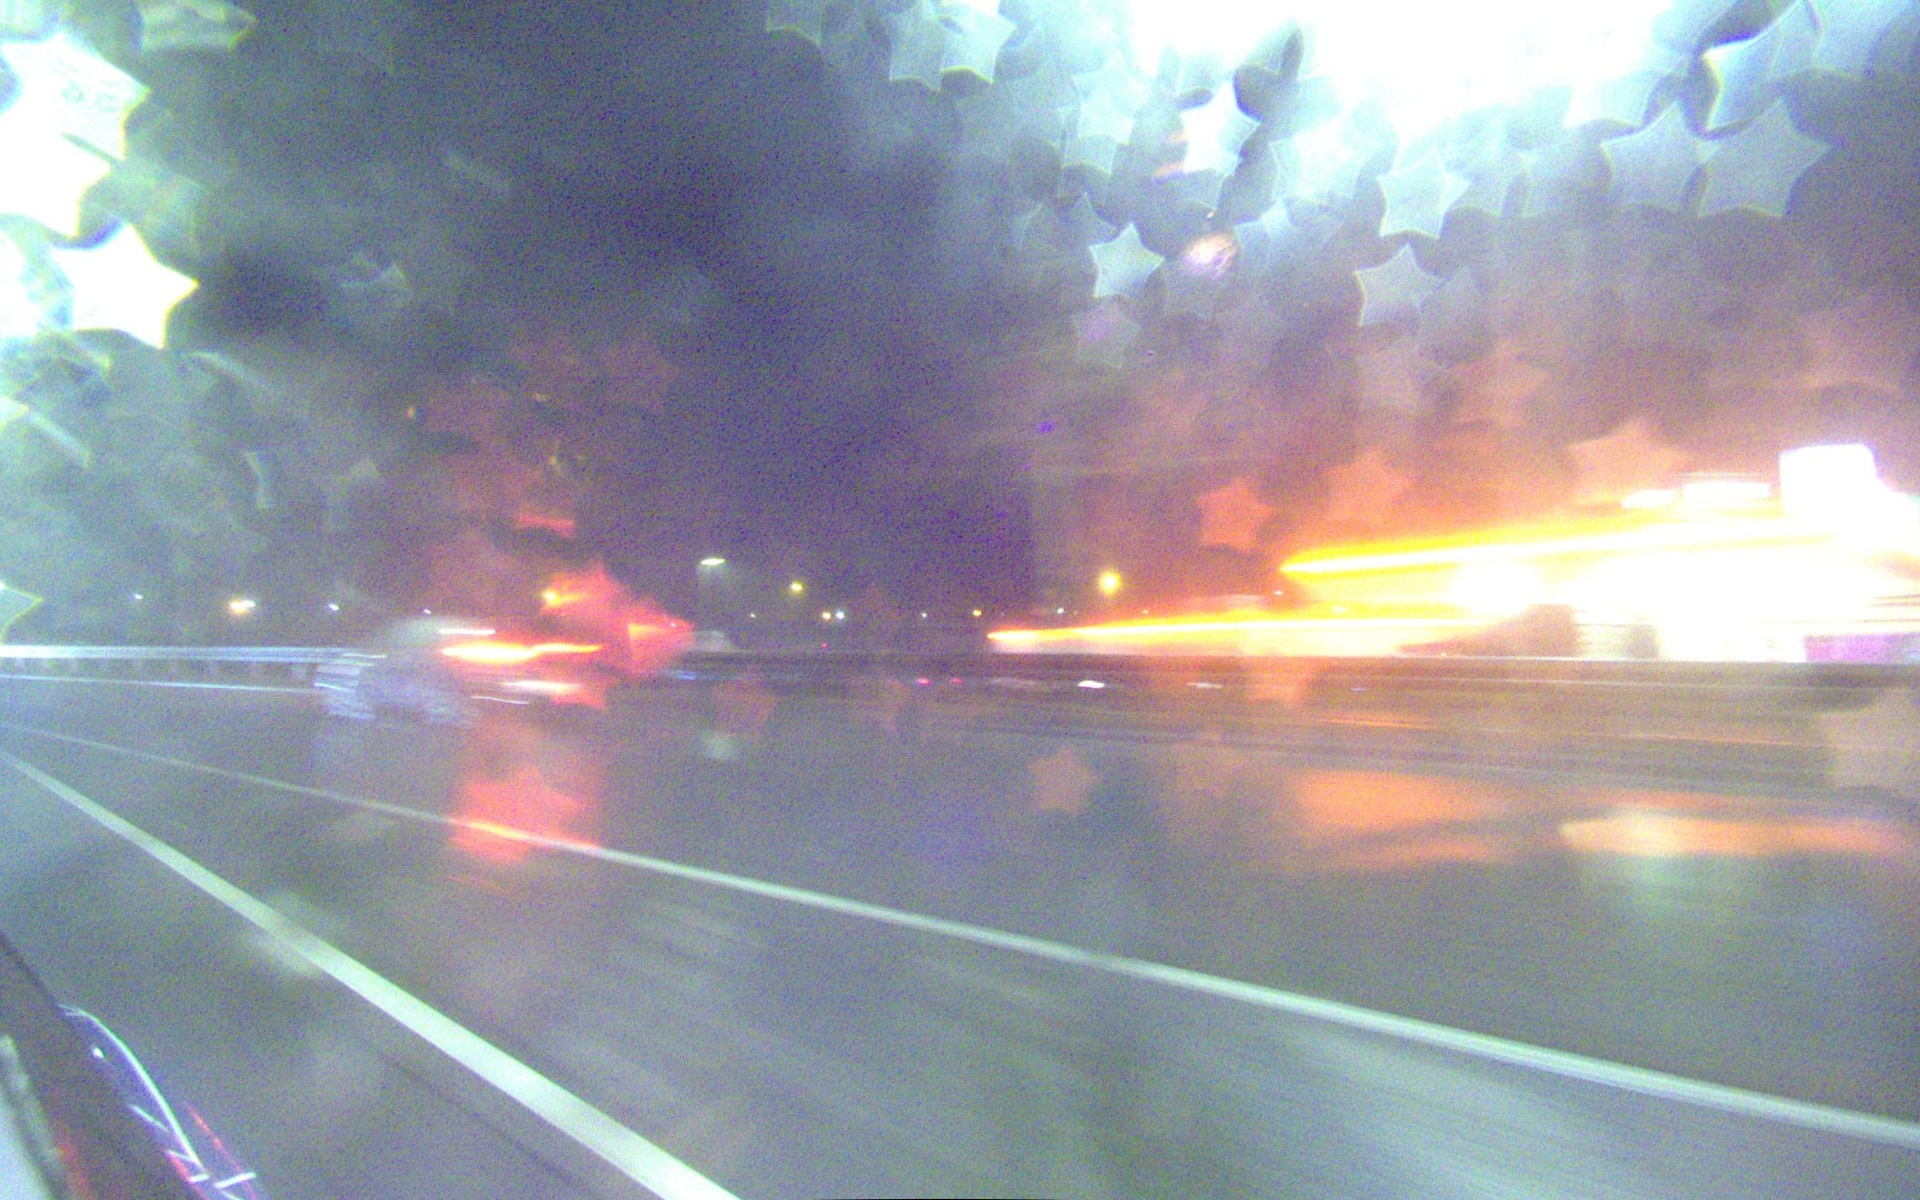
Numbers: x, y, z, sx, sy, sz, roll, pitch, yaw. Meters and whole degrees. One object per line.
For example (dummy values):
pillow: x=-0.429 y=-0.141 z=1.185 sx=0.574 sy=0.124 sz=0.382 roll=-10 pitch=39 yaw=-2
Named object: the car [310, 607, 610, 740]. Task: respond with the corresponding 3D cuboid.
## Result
car: x=-6.747 y=0.878 z=13.532 sx=4.177 sy=1.515 sz=1.811 roll=-1 pitch=-1 yaw=34
